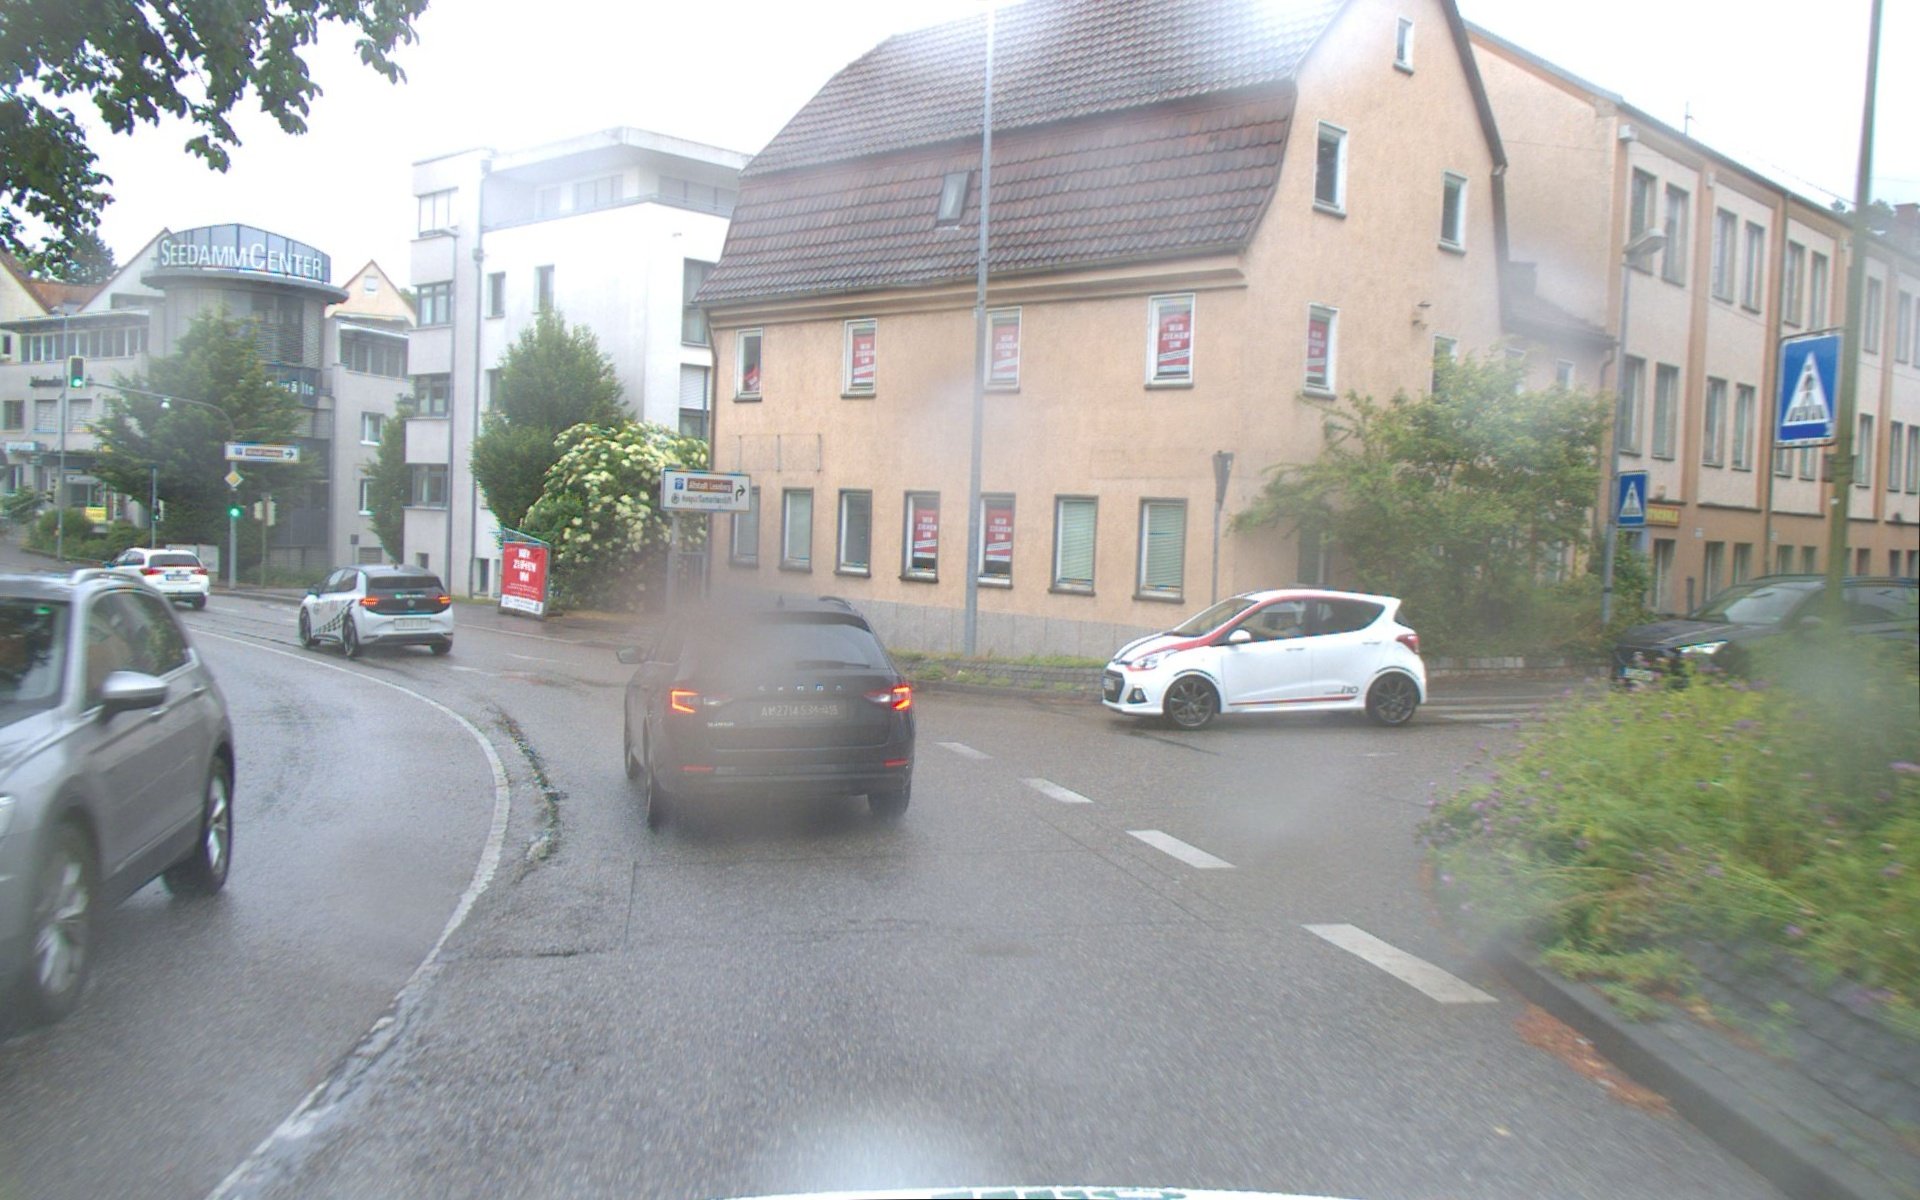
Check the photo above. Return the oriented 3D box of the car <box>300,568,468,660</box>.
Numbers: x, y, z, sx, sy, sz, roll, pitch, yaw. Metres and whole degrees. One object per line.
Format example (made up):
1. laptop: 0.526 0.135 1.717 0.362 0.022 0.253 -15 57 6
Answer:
1. car: -10.419 0.210 29.752 1.803 1.383 3.940 0 3 -36

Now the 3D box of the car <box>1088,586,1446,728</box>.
1. car: 3.456 0.603 18.915 3.683 1.478 1.708 0 2 -11

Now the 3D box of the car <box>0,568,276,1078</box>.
1. car: -4.230 0.708 7.005 1.698 1.570 4.287 -1 0 -12

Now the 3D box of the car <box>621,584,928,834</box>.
1. car: -1.547 0.705 12.280 1.752 1.509 4.230 0 -1 -14

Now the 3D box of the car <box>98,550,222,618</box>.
1. car: -20.291 -0.394 41.867 1.719 1.618 4.119 1 -1 -42

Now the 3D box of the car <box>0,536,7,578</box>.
1. car: -38.775 -1.721 64.824 1.881 1.618 3.637 -1 3 -39

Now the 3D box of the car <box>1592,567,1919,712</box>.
1. car: 10.008 0.416 19.794 4.325 1.600 1.715 0 2 -11
